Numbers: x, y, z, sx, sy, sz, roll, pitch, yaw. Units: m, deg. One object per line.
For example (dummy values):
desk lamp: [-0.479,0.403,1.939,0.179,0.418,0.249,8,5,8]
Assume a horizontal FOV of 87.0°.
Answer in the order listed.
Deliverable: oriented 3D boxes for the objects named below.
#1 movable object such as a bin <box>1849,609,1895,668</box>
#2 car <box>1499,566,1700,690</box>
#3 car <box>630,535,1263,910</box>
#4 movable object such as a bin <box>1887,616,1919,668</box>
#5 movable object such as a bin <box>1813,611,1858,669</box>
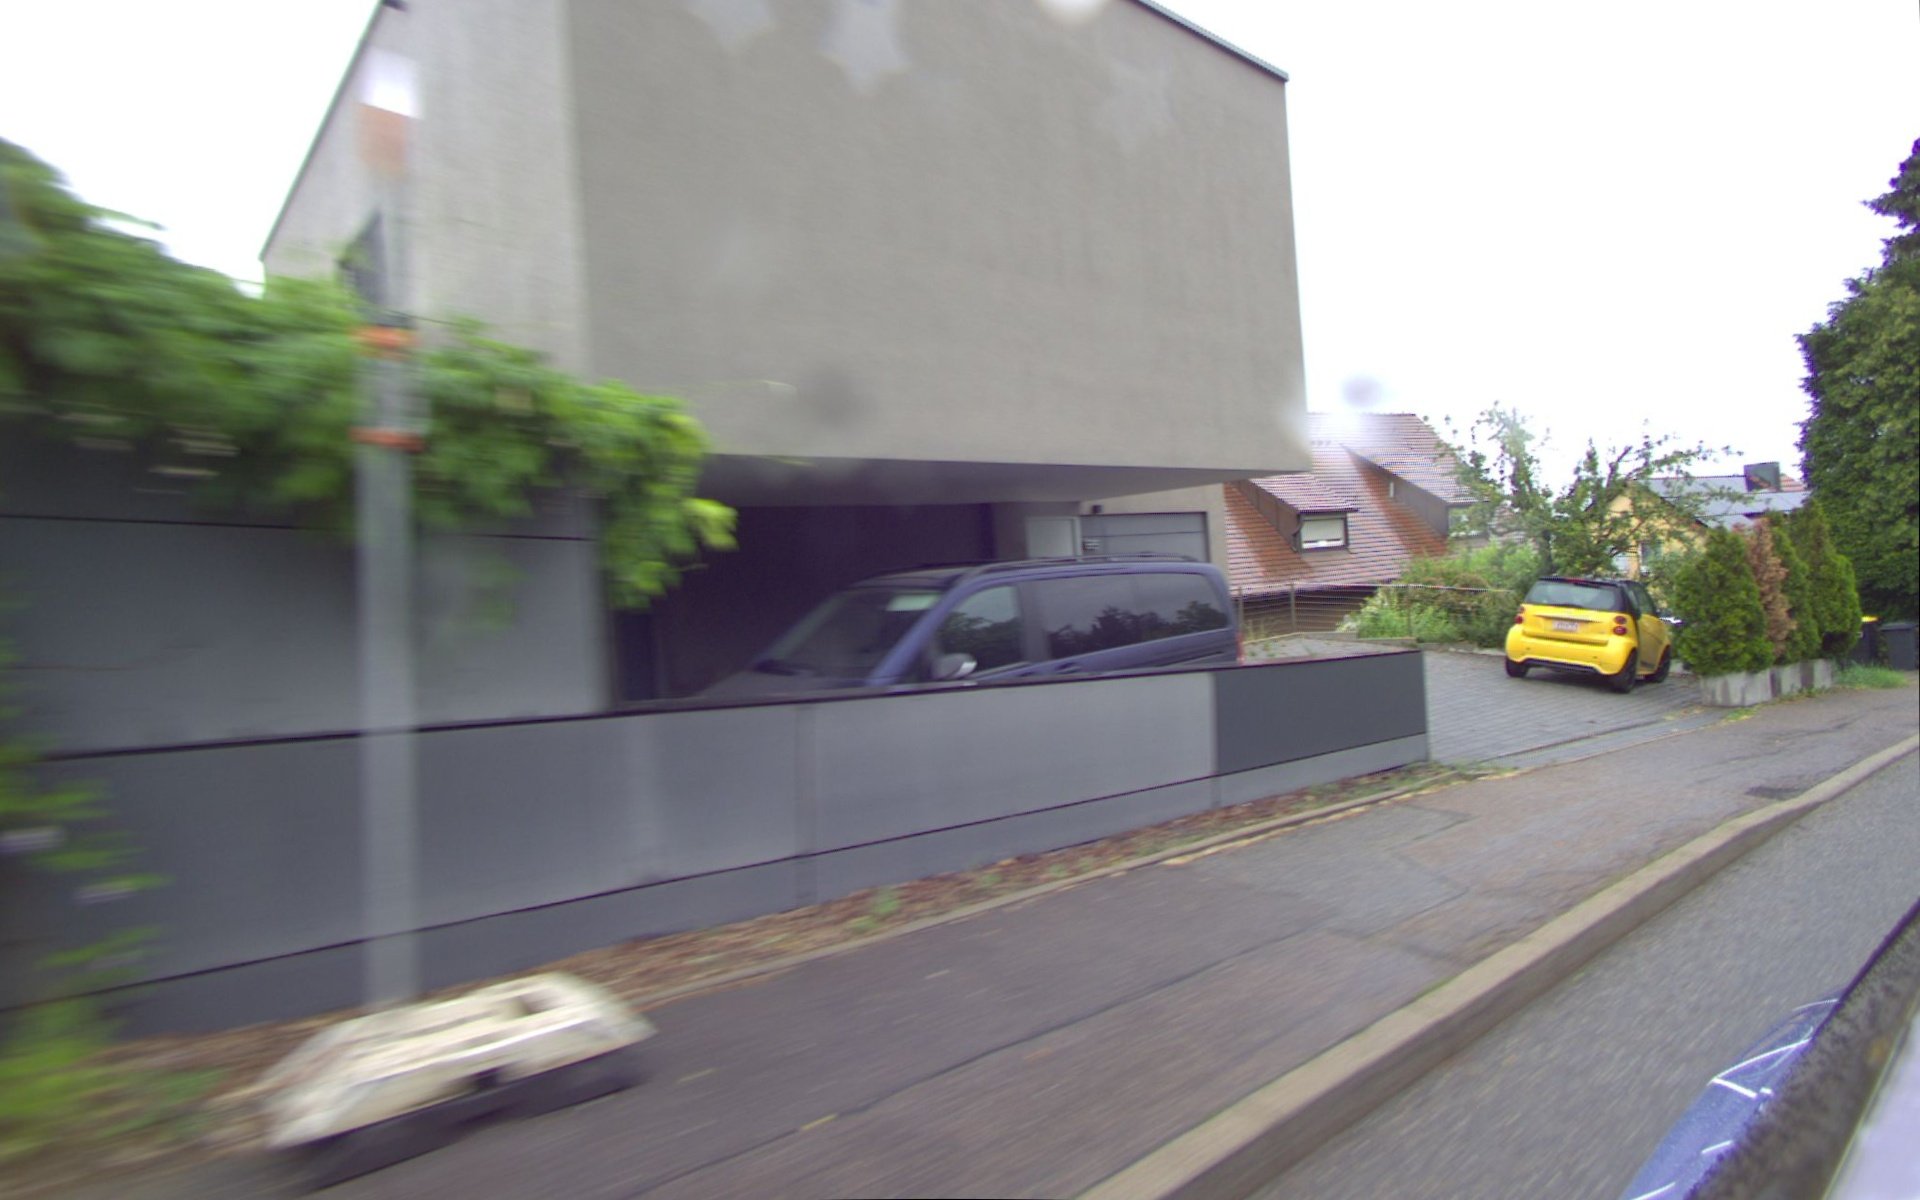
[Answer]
movable object such as a bin: [18.159,0.765,20.145,0.583,1.132,0.506,0,-3,-36]
car: [9.589,0.310,15.091,3.369,1.511,1.631,-2,7,-43]
car: [0.156,0.573,7.839,4.693,1.964,1.996,-5,3,-42]
movable object such as a bin: [18.482,0.812,19.681,0.583,0.982,0.506,0,-3,-36]
movable object such as a bin: [17.806,0.810,20.584,0.583,1.153,0.523,0,-3,-36]
